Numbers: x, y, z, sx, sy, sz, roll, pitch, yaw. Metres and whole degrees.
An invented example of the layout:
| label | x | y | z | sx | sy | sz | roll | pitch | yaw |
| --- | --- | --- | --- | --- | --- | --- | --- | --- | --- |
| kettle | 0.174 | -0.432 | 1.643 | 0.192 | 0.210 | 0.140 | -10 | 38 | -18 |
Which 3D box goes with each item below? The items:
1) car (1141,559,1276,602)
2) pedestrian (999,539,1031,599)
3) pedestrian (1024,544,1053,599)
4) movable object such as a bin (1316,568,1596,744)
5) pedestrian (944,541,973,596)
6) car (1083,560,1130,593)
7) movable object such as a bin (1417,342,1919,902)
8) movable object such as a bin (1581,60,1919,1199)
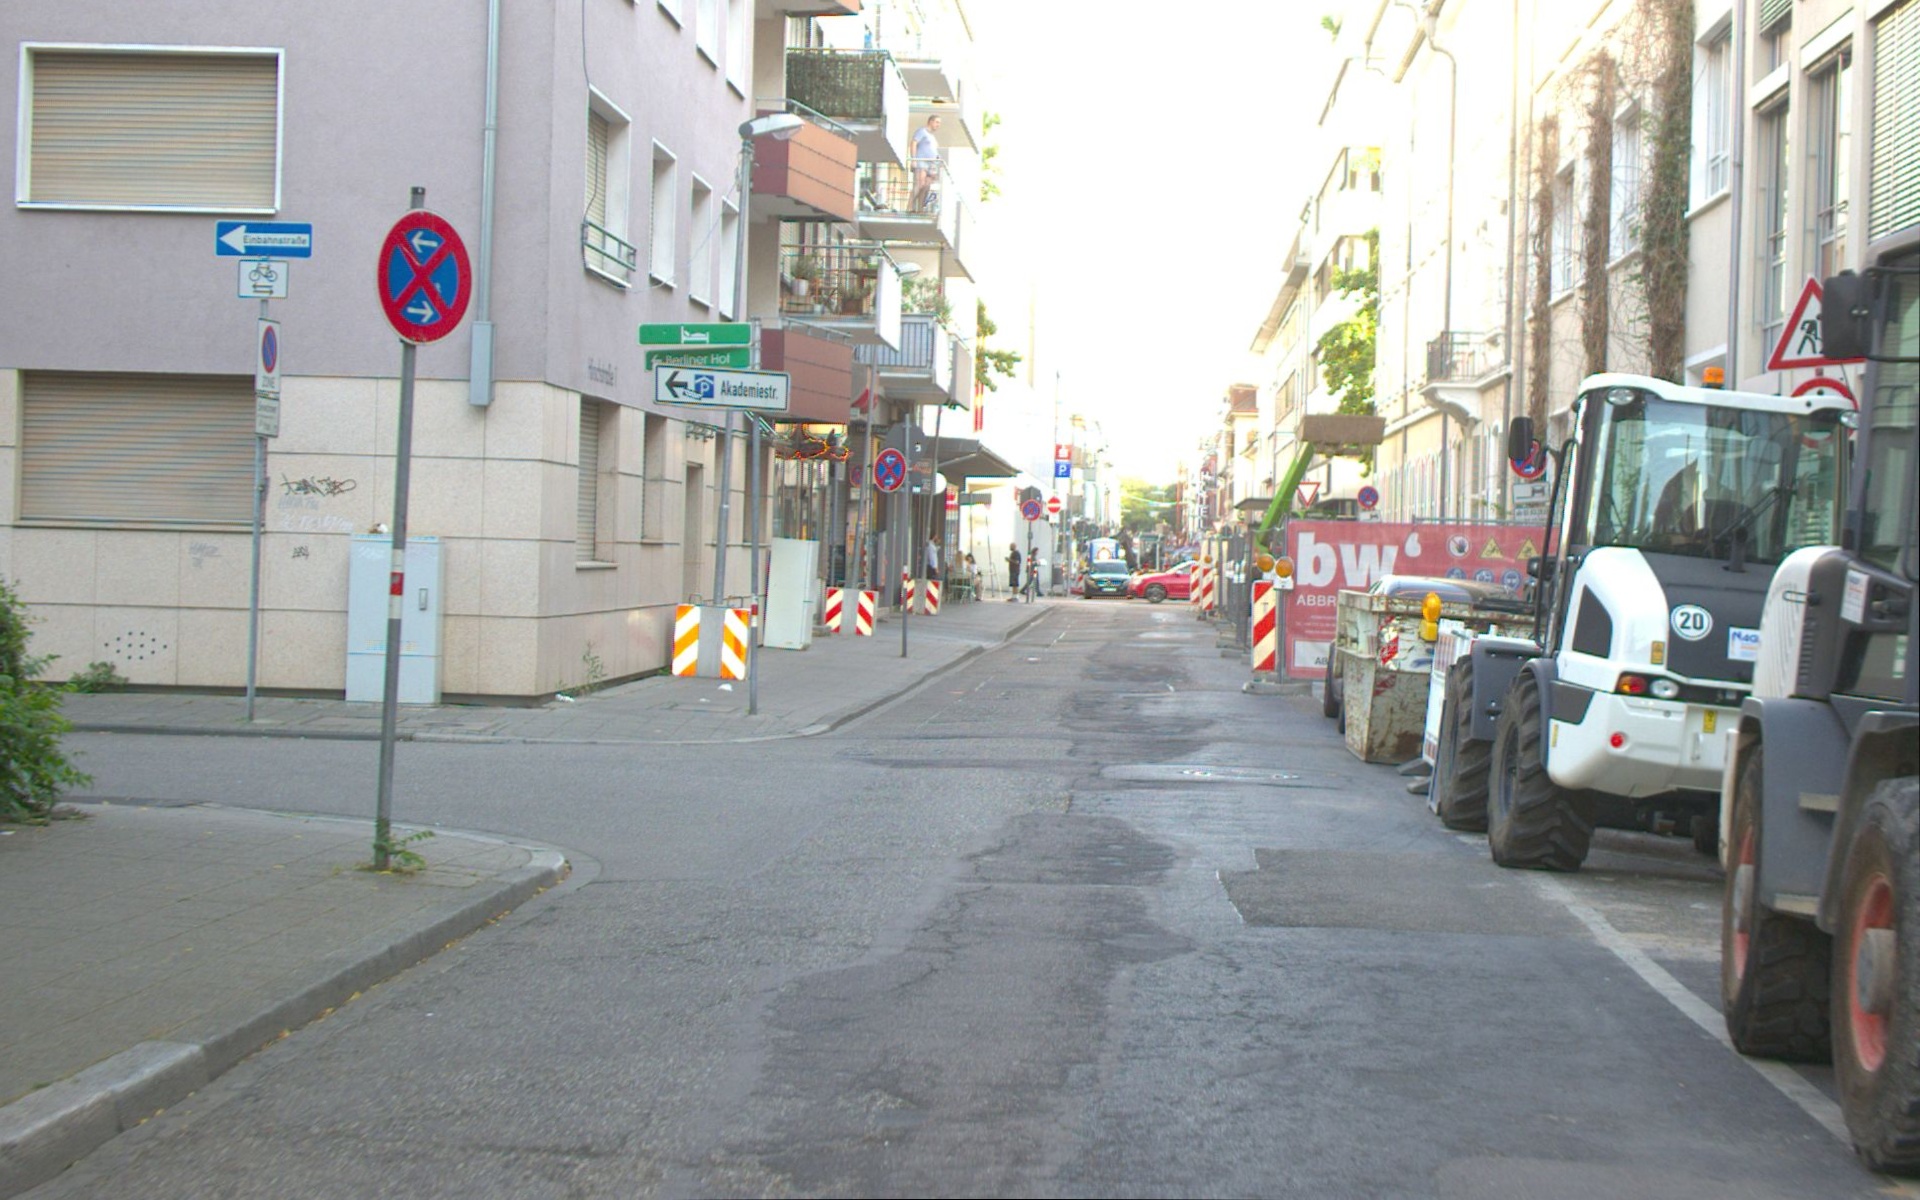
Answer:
| label | x | y | z | sx | sy | sz | roll | pitch | yaw |
| --- | --- | --- | --- | --- | --- | --- | --- | --- | --- |
| car | 7.939 | -0.629 | 109.714 | 3.990 | 1.229 | 1.999 | 2 | 1 | 14 |
| pedestrian | 1.551 | -0.867 | 96.967 | 0.797 | 1.655 | 0.744 | 2 | 1 | 6 |
| pedestrian | 2.293 | -0.834 | 100.347 | 0.797 | 1.588 | 0.744 | 2 | 1 | -1 |
| movable object such as a bin | 4.450 | 0.459 | 31.425 | 2.046 | 1.406 | 3.974 | 2 | 1 | 2 |
| pedestrian | -0.032 | -0.837 | 90.723 | 0.664 | 1.433 | 0.533 | 2 | 1 | 7 |
| car | 5.386 | -0.863 | 126.589 | 1.536 | 1.130 | 3.121 | 2 | 1 | 0 |
| movable object such as a bin | 3.777 | 0.076 | 17.937 | 2.277 | 2.531 | 4.098 | 2 | 1 | 2 |
| movable object such as a bin | 3.288 | 0.135 | 9.257 | 2.277 | 2.683 | 5.649 | 2 | 1 | 2 |
